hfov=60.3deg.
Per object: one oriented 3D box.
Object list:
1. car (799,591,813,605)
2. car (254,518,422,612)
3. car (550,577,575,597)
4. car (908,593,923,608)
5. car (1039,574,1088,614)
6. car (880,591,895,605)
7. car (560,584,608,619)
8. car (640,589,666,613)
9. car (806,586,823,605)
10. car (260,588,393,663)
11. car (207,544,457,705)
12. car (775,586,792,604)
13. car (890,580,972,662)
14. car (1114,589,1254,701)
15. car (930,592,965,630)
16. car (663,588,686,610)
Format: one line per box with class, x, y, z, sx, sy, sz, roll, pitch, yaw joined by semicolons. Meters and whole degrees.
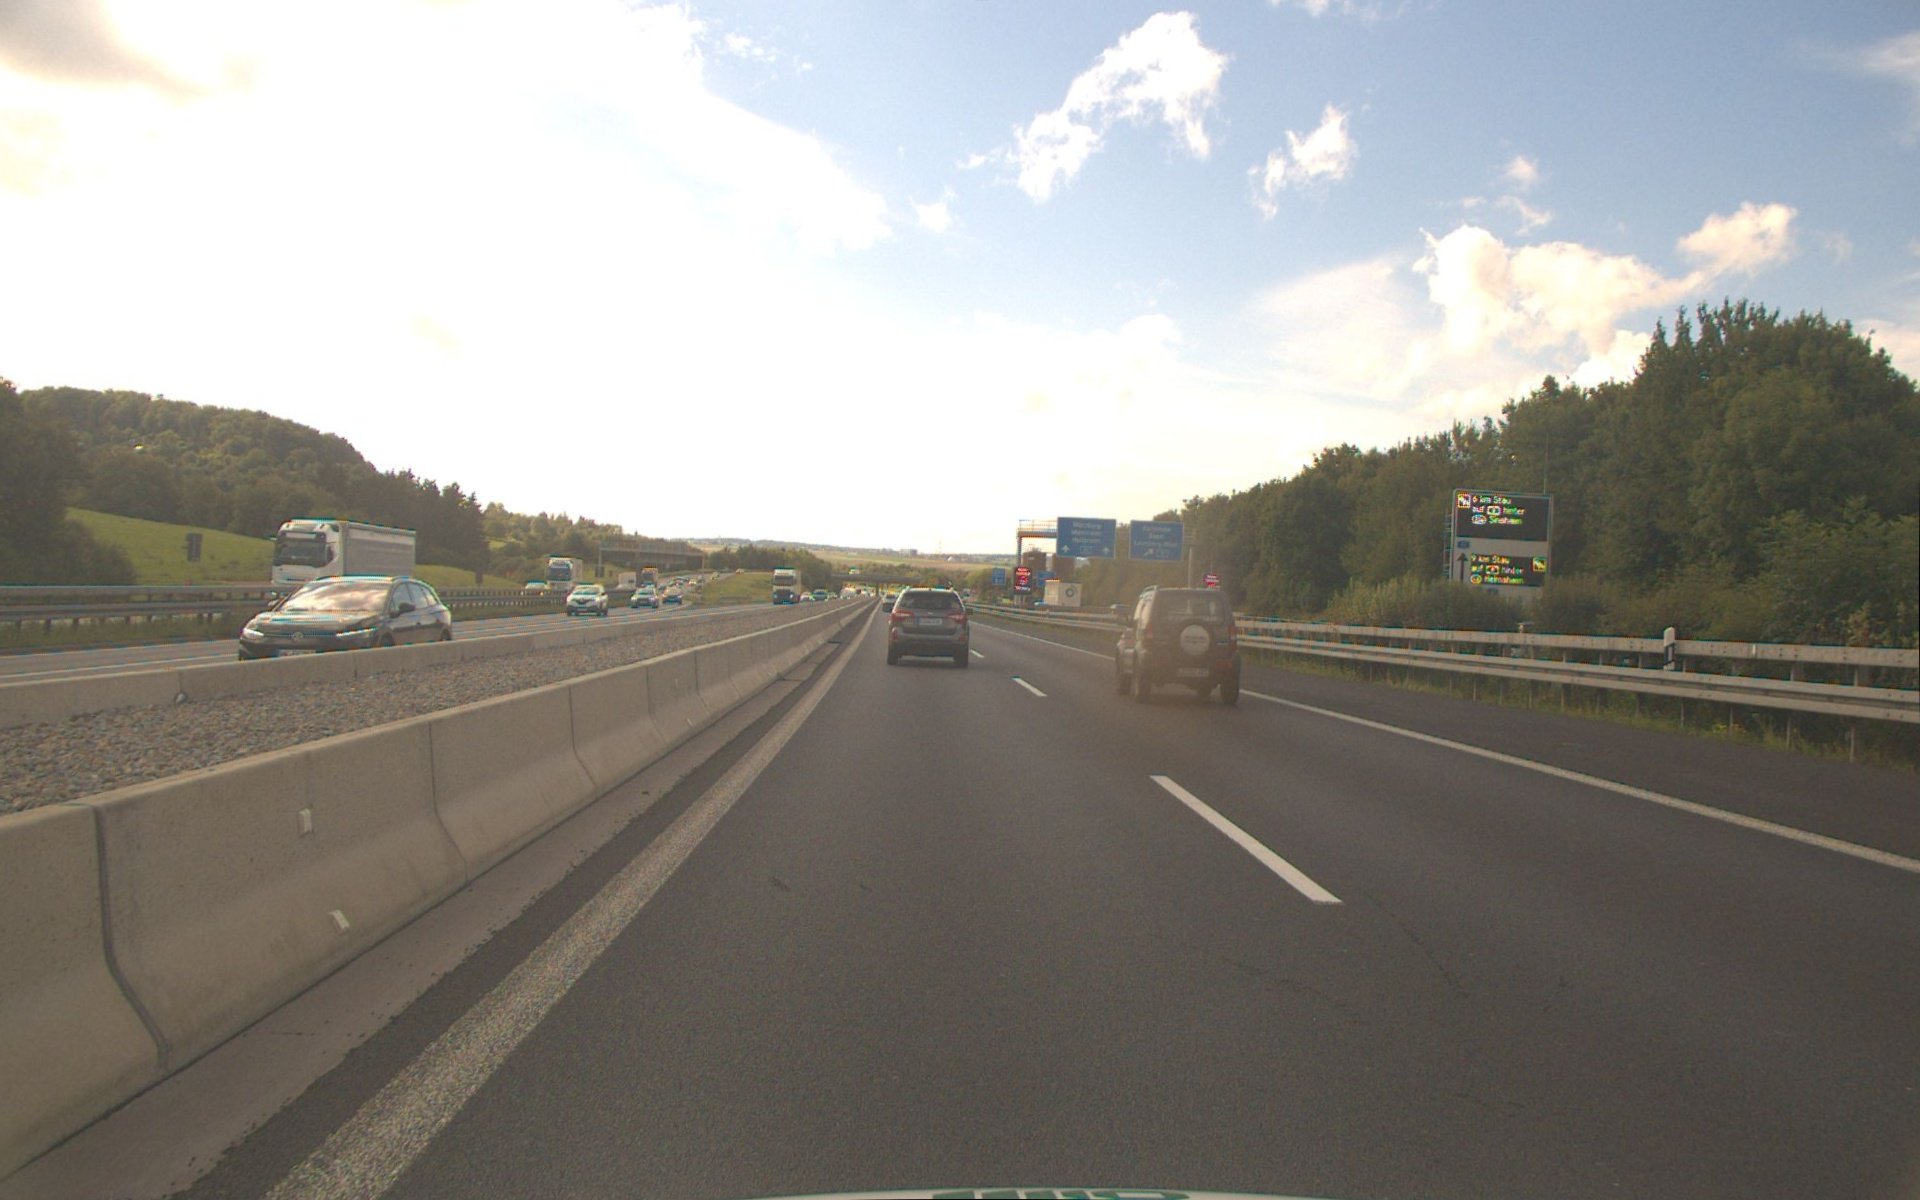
car;-22.456;-0.277;241.278;1.955;1.924;4.267;1;0;-6
car;-30.250;-1.565;81.437;3.742;4.151;14.815;1;0;-5
car;-41.415;-1.337;172.331;1.955;2.049;4.267;1;0;-6
car;-6.461;0.080;240.193;1.955;1.963;3.995;1;-2;-5
car;11.569;-0.659;185.813;4.632;4.340;11.402;1;0;-1
car;-9.721;-0.303;221.651;1.954;1.713;3.996;1;-2;-4
car;-20.073;0.062;88.461;1.955;1.822;4.267;1;0;-6
car;-23.124;0.065;124.611;1.576;1.820;4.267;1;0;-6
car;-16.536;-0.502;187.582;1.785;2.049;4.141;1;0;-6
car;-15.402;0.595;40.414;1.690;1.729;4.151;1;0;-1
car;-8.768;0.316;23.533;1.953;2.049;4.272;1;0;-1
car;-20.630;-0.541;193.658;1.955;2.066;4.267;1;0;-6
car;-0.653;0.497;38.663;1.780;1.766;5.185;1;-1;0
car;3.462;0.656;26.140;1.555;1.625;4.094;1;0;-1
car;-0.799;0.643;99.314;1.990;2.189;3.998;1;0;-2
car;-27.456;-0.127;159.128;1.955;2.049;4.267;1;0;-6
